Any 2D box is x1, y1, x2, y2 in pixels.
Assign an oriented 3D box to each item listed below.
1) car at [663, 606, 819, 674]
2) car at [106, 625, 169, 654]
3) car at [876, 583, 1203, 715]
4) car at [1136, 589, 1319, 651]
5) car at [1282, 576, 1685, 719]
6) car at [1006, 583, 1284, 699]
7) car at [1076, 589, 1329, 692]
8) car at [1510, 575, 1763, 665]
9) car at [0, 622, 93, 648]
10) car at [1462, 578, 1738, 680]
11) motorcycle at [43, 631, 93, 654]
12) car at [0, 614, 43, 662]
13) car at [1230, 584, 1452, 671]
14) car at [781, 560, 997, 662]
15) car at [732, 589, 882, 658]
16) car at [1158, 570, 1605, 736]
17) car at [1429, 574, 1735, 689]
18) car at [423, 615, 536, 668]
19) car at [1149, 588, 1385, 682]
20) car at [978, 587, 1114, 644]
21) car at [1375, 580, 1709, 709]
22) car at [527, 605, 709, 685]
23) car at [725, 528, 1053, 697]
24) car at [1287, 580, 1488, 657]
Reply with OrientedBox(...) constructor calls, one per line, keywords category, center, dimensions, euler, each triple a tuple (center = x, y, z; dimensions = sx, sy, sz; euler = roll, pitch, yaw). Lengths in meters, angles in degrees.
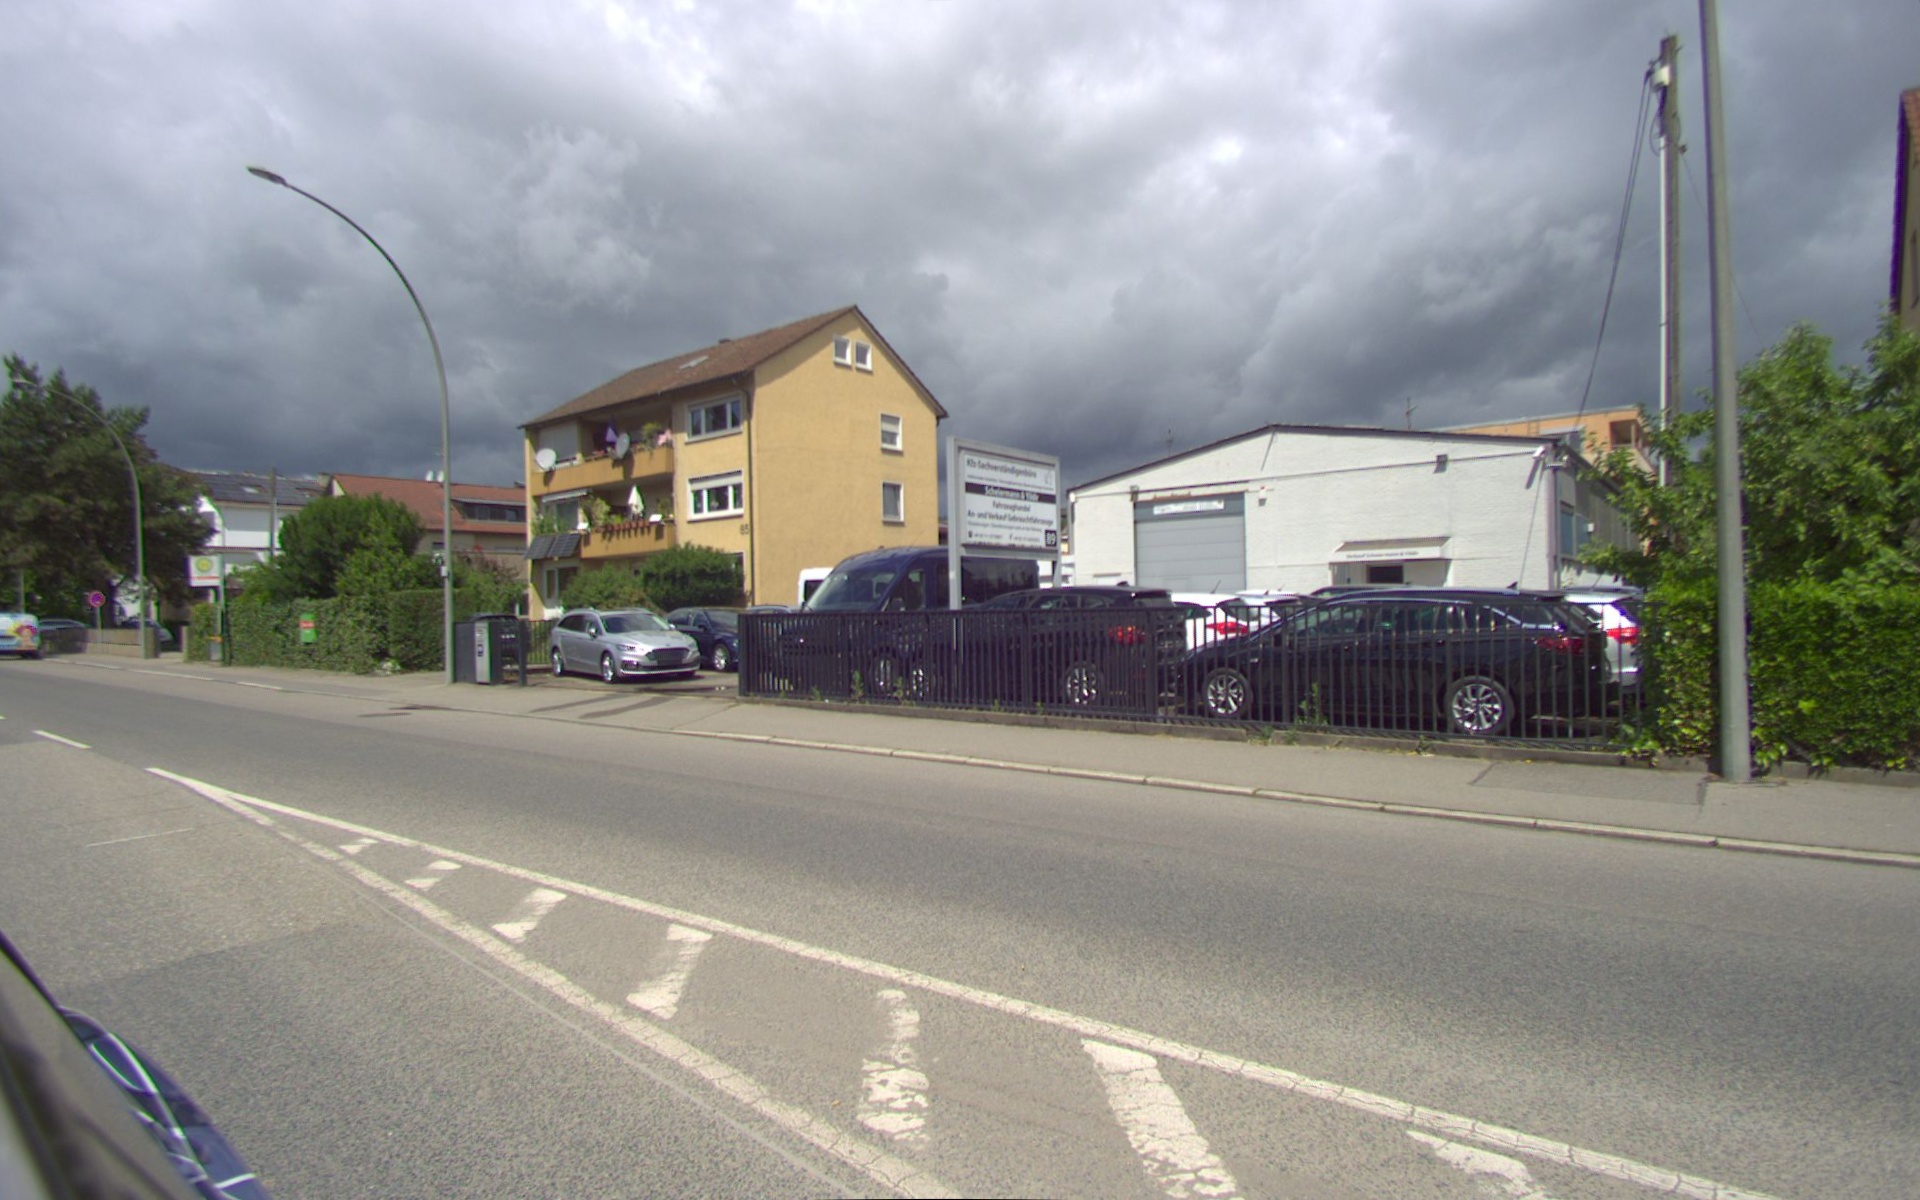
OrientedBox(category="car", center=(-5.238, 0.894, 23.832), dimensions=(1.821, 1.437, 4.338), euler=(0, -1, -39))
OrientedBox(category="car", center=(-45.699, 2.173, 56.227), dimensions=(4.079, 1.555, 1.751), euler=(-1, -1, 36))
OrientedBox(category="car", center=(1.060, 0.649, 14.493), dimensions=(4.277, 1.607, 2.013), euler=(-2, -1, 37))
OrientedBox(category="car", center=(8.092, 0.621, 30.877), dimensions=(4.998, 1.726, 2.030), euler=(-2, -1, 37))
OrientedBox(category="car", center=(6.580, 0.549, 12.891), dimensions=(4.260, 1.518, 2.134), euler=(-1, -1, 37))
OrientedBox(category="car", center=(2.881, 0.615, 16.095), dimensions=(3.990, 1.630, 1.761), euler=(-1, -1, 35))
OrientedBox(category="car", center=(4.239, 0.685, 17.883), dimensions=(3.990, 1.630, 1.761), euler=(-1, -1, 35))
OrientedBox(category="car", center=(13.256, 0.401, 20.054), dimensions=(3.990, 1.630, 1.761), euler=(-1, -1, 35))
OrientedBox(category="car", center=(-60.722, 2.295, 66.827), dimensions=(1.970, 1.563, 4.960), euler=(-1, -1, 38))
OrientedBox(category="car", center=(11.342, 0.506, 18.143), dimensions=(3.990, 1.630, 1.761), euler=(-1, -1, 35))
OrientedBox(category="motorcycle", center=(-46.770, 2.210, 53.092), dimensions=(1.845, 1.174, 0.827), euler=(0, -1, -34))
OrientedBox(category="car", center=(-39.568, 1.597, 41.737), dimensions=(4.891, 1.868, 1.815), euler=(-3, -5, 40))
OrientedBox(category="car", center=(7.811, 0.558, 20.861), dimensions=(3.990, 1.630, 1.761), euler=(-1, -1, 35))
OrientedBox(category="car", center=(-2.087, 0.360, 27.852), dimensions=(6.134, 2.514, 2.386), euler=(-2, -3, 43))
OrientedBox(category="car", center=(-3.985, 0.591, 25.814), dimensions=(1.821, 1.589, 4.338), euler=(0, -1, -39))
OrientedBox(category="car", center=(4.649, 0.537, 11.406), dimensions=(4.260, 1.518, 2.133), euler=(-2, -1, 37))
OrientedBox(category="car", center=(9.875, 0.488, 16.220), dimensions=(3.994, 1.630, 1.759), euler=(-1, -1, 38))
OrientedBox(category="car", center=(-14.356, 1.194, 30.136), dimensions=(1.823, 1.437, 4.335), euler=(0, -1, -43))
OrientedBox(category="car", center=(5.853, 0.653, 19.441), dimensions=(3.990, 1.630, 1.761), euler=(-1, -1, 35))
OrientedBox(category="car", center=(2.859, 0.536, 34.103), dimensions=(4.328, 1.805, 1.826), euler=(-1, -1, 41))
OrientedBox(category="car", center=(8.335, 0.600, 14.655), dimensions=(3.994, 1.630, 1.759), euler=(-1, -1, 38))
OrientedBox(category="car", center=(-7.543, 0.910, 21.944), dimensions=(1.968, 1.497, 5.349), euler=(0, -1, -40))
OrientedBox(category="car", center=(-1.036, 0.226, 18.195), dimensions=(2.475, 2.515, 5.977), euler=(-2, -1, 39))
OrientedBox(category="car", center=(9.788, 0.441, 23.253), dimensions=(3.990, 1.630, 1.761), euler=(-1, -1, 35))
